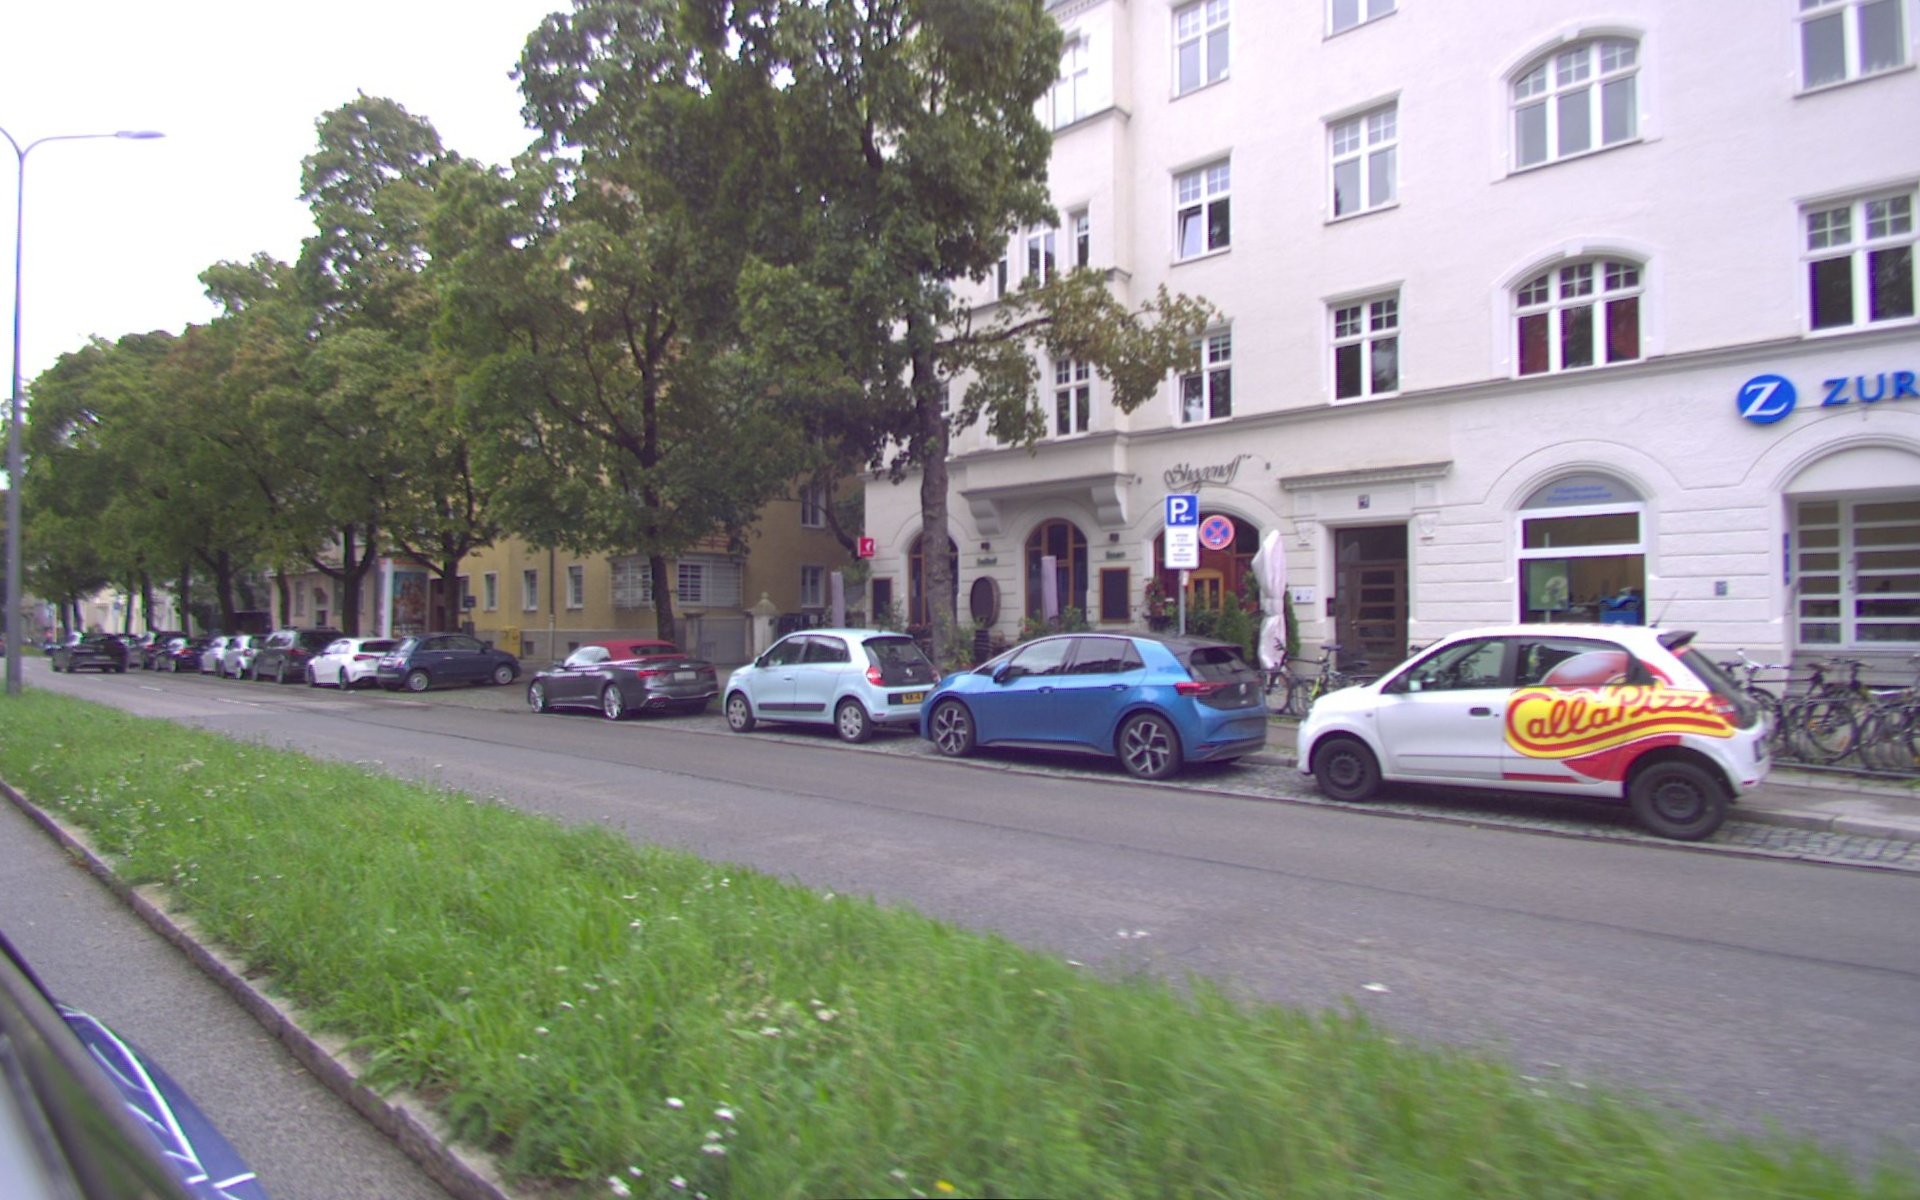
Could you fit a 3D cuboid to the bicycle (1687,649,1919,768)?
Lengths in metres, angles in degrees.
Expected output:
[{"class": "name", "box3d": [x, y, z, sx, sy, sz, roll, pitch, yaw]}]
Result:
[{"class": "bicycle", "box3d": [8.361, 1.052, 10.001, 1.859, 1.124, 0.328, -1, -2, 19]}]

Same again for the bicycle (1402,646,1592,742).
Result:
[{"class": "bicycle", "box3d": [6.551, 1.143, 12.426, 1.967, 1.124, 0.503, -1, -2, 10]}]

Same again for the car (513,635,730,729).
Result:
[{"class": "car", "box3d": [-6.413, 1.434, 18.900, 4.644, 1.518, 1.791, -2, -2, 42]}]

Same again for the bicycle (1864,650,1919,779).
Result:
[{"class": "bicycle", "box3d": [9.076, 1.003, 8.884, 1.667, 1.124, 0.328, -1, -2, 19]}]

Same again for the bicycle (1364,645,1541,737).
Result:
[{"class": "bicycle", "box3d": [6.253, 1.148, 12.912, 1.945, 1.124, 0.457, -1, -2, 10]}]

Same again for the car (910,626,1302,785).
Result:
[{"class": "car", "box3d": [1.565, 1.091, 11.888, 4.289, 1.518, 1.791, -2, -2, 42]}]

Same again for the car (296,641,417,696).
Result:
[{"class": "car", "box3d": [-17.027, 1.867, 28.471, 4.402, 1.413, 1.708, -2, -2, 42]}]

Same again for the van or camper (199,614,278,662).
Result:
[{"class": "van or camper", "box3d": [-41.967, 2.186, 58.794, 6.848, 2.599, 2.321, -2, -2, 42]}]

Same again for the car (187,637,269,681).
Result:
[{"class": "car", "box3d": [-27.809, 2.202, 38.426, 4.055, 1.573, 1.708, -2, -2, 42]}]

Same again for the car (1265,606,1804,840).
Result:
[{"class": "car", "box3d": [4.812, 0.897, 8.822, 3.790, 1.597, 1.631, -2, -2, 43]}]

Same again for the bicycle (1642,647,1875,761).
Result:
[{"class": "bicycle", "box3d": [8.205, 1.054, 10.469, 1.859, 1.124, 0.328, -1, -2, 19]}]

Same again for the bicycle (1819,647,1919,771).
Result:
[{"class": "bicycle", "box3d": [9.043, 0.996, 9.335, 1.667, 1.124, 0.328, -1, -2, 19]}]

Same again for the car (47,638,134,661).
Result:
[{"class": "car", "box3d": [-57.045, 3.247, 66.452, 3.931, 1.386, 1.868, -1, -2, -21]}]

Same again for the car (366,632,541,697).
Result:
[{"class": "car", "box3d": [-13.561, 1.668, 27.251, 1.731, 1.475, 3.850, -2, 0, 40]}]

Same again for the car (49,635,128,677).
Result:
[{"class": "car", "box3d": [-34.921, 2.227, 40.502, 4.620, 1.597, 1.855, -2, -4, 43]}]

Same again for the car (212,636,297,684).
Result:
[{"class": "car", "box3d": [-24.587, 2.053, 35.258, 3.007, 1.569, 1.709, -2, -2, 40]}]

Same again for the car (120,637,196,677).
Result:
[{"class": "car", "box3d": [-35.703, 2.491, 44.992, 4.768, 1.658, 1.859, -2, -2, 42]}]

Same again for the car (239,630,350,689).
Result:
[{"class": "car", "box3d": [-21.343, 1.841, 32.378, 4.765, 1.741, 1.791, -2, -2, 42]}]

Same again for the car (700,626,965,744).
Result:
[{"class": "car", "box3d": [-1.997, 1.179, 15.187, 3.959, 1.518, 1.791, -2, -2, 42]}]

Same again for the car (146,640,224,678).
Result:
[{"class": "car", "box3d": [-31.540, 2.363, 41.148, 4.361, 1.416, 1.708, -2, -2, 42]}]
